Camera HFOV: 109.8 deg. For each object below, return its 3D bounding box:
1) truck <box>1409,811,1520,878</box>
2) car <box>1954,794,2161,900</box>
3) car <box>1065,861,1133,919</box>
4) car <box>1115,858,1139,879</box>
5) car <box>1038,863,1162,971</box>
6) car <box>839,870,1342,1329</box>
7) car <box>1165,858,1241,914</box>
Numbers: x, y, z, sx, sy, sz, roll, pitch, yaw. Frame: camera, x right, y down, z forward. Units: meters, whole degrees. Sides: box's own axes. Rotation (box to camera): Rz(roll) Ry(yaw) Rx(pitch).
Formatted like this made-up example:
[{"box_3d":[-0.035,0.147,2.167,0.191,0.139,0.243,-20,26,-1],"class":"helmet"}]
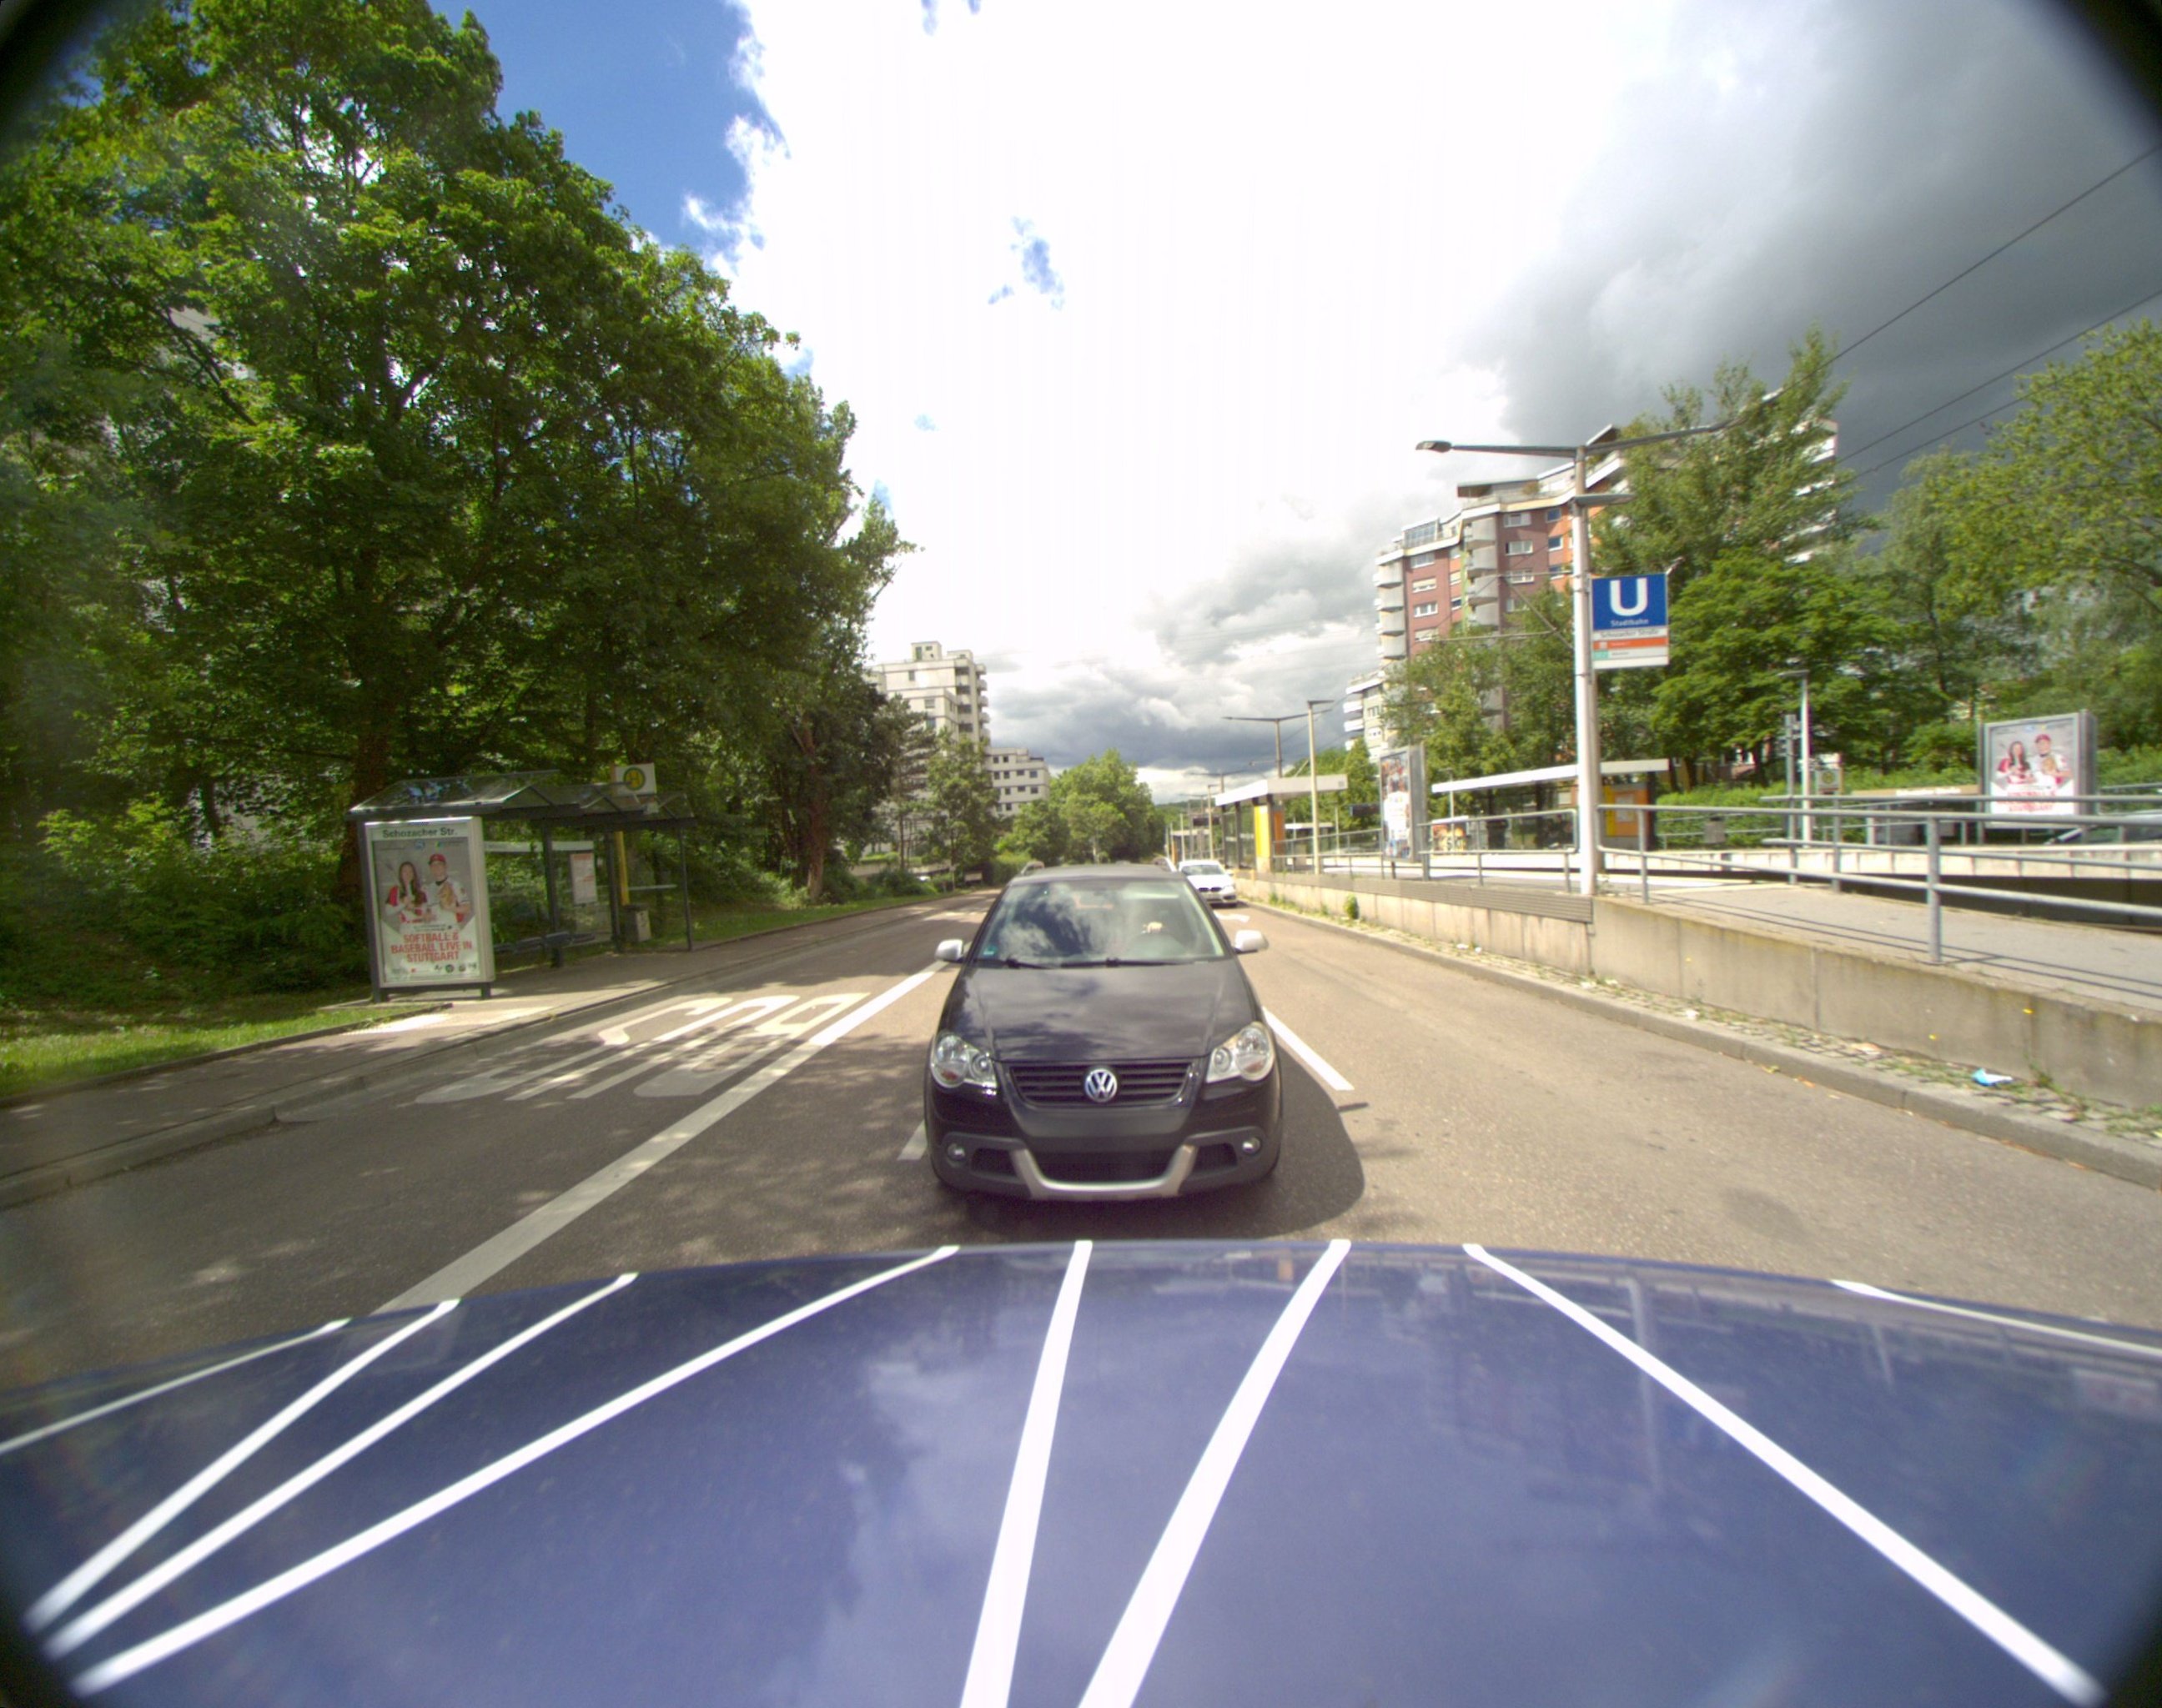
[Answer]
[{"box_3d":[20.500,-0.454,41.159,2.420,3.203,7.263,-2,0,1],"class":"truck"},{"box_3d":[19.203,-0.138,13.617,1.998,1.791,4.510,-1,0,2],"class":"car"},{"box_3d":[0.589,0.972,22.022,1.732,1.452,4.001,-2,0,3],"class":"car"},{"box_3d":[3.800,1.172,62.865,1.732,1.505,4.000,-2,1,1],"class":"car"},{"box_3d":[0.312,0.936,12.937,1.732,1.453,4.000,-2,0,1],"class":"car"},{"box_3d":[0.070,0.923,4.707,1.732,1.501,4.000,-2,0,1],"class":"car"},{"box_3d":[3.675,0.920,23.592,1.732,1.453,4.000,-2,0,1],"class":"car"}]
